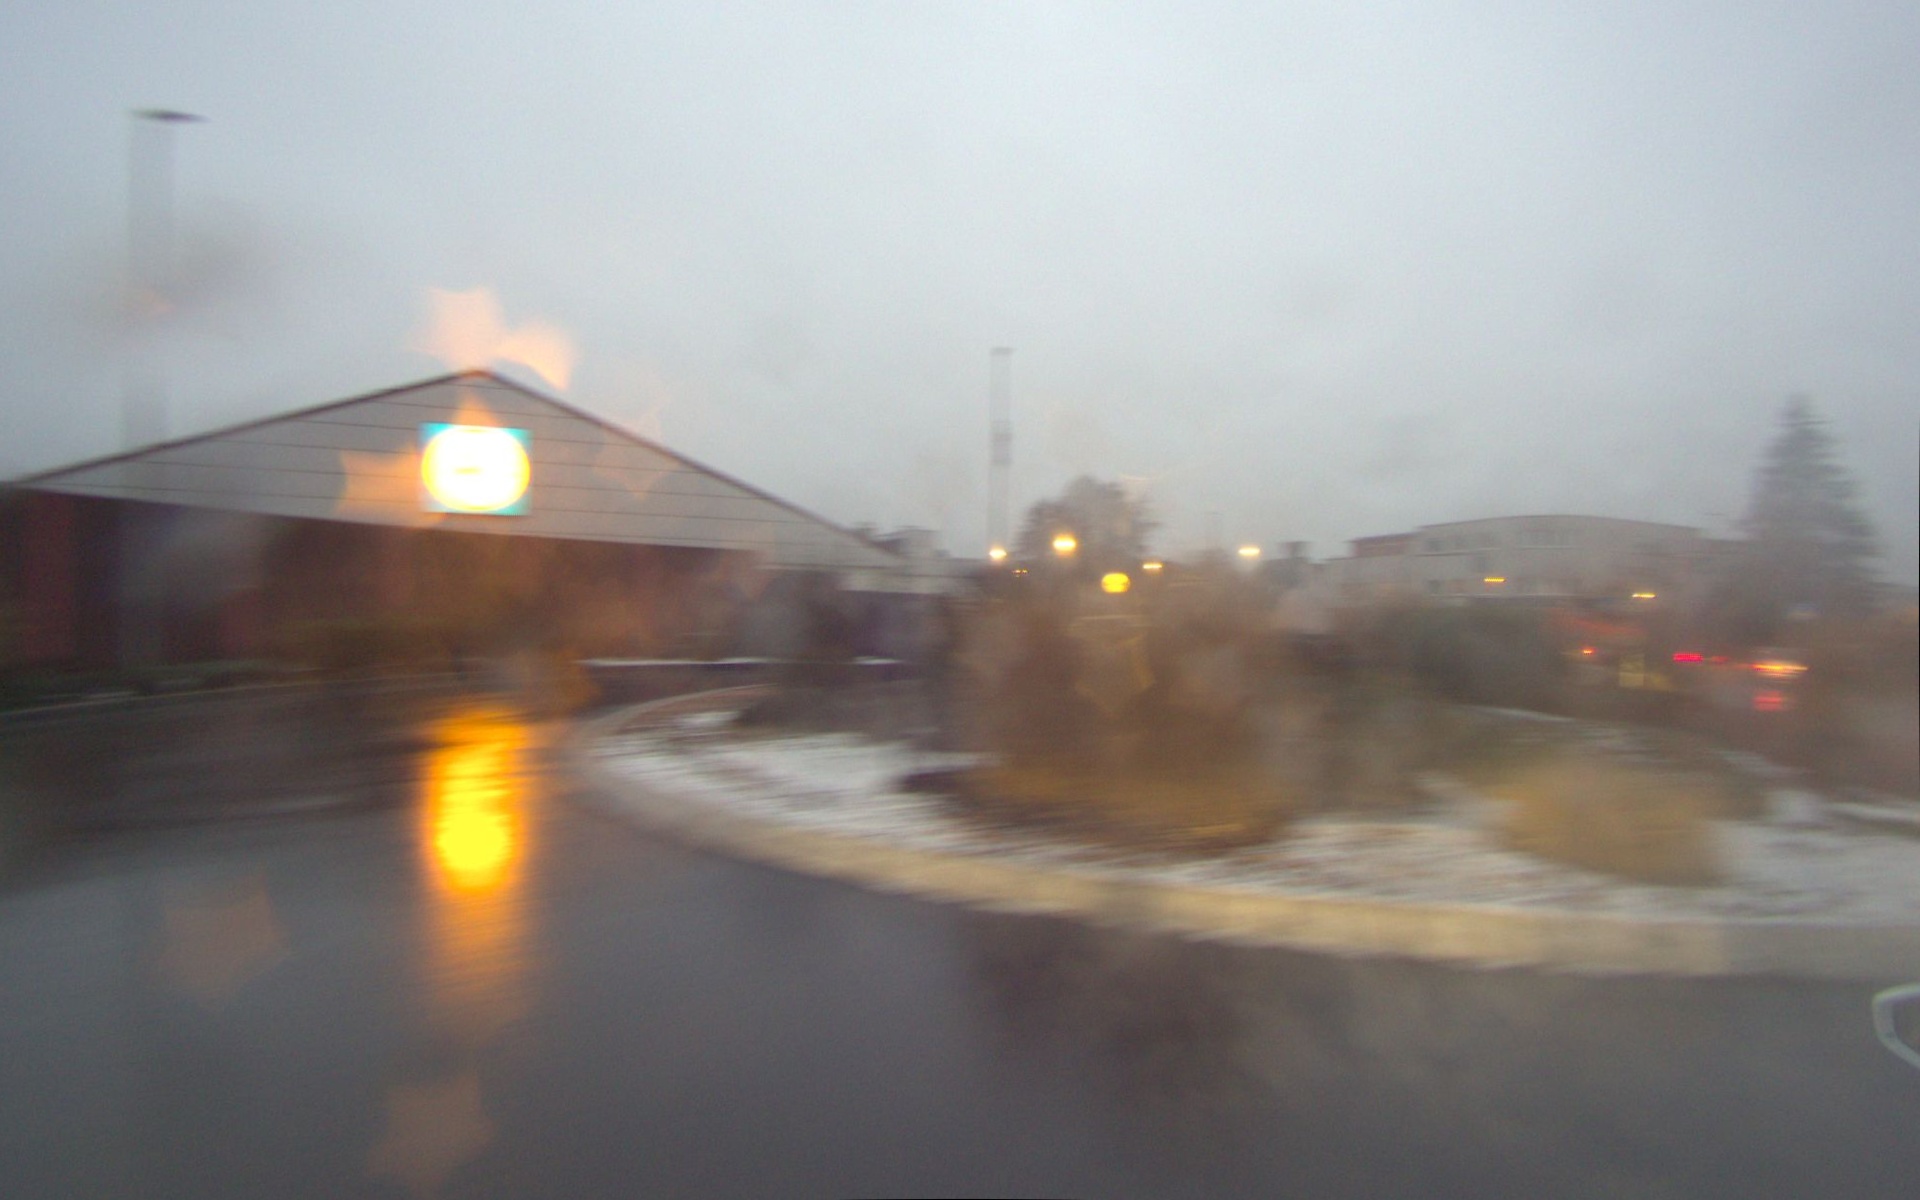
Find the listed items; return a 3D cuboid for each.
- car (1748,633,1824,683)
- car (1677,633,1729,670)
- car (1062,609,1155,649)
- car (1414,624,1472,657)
[{"bbox_3d":[29.705,2.084,36.234,1.858,1.635,4.556,0,-3,36],"label":"car"},{"bbox_3d":[34.470,2.412,46.606,1.858,1.568,4.556,0,-3,36],"label":"car"},{"bbox_3d":[9.145,1.796,61.751,5.348,2.162,2.021,4,0,-24],"label":"car"},{"bbox_3d":[33.332,2.763,69.428,2.126,2.088,4.573,2,0,5],"label":"car"}]
